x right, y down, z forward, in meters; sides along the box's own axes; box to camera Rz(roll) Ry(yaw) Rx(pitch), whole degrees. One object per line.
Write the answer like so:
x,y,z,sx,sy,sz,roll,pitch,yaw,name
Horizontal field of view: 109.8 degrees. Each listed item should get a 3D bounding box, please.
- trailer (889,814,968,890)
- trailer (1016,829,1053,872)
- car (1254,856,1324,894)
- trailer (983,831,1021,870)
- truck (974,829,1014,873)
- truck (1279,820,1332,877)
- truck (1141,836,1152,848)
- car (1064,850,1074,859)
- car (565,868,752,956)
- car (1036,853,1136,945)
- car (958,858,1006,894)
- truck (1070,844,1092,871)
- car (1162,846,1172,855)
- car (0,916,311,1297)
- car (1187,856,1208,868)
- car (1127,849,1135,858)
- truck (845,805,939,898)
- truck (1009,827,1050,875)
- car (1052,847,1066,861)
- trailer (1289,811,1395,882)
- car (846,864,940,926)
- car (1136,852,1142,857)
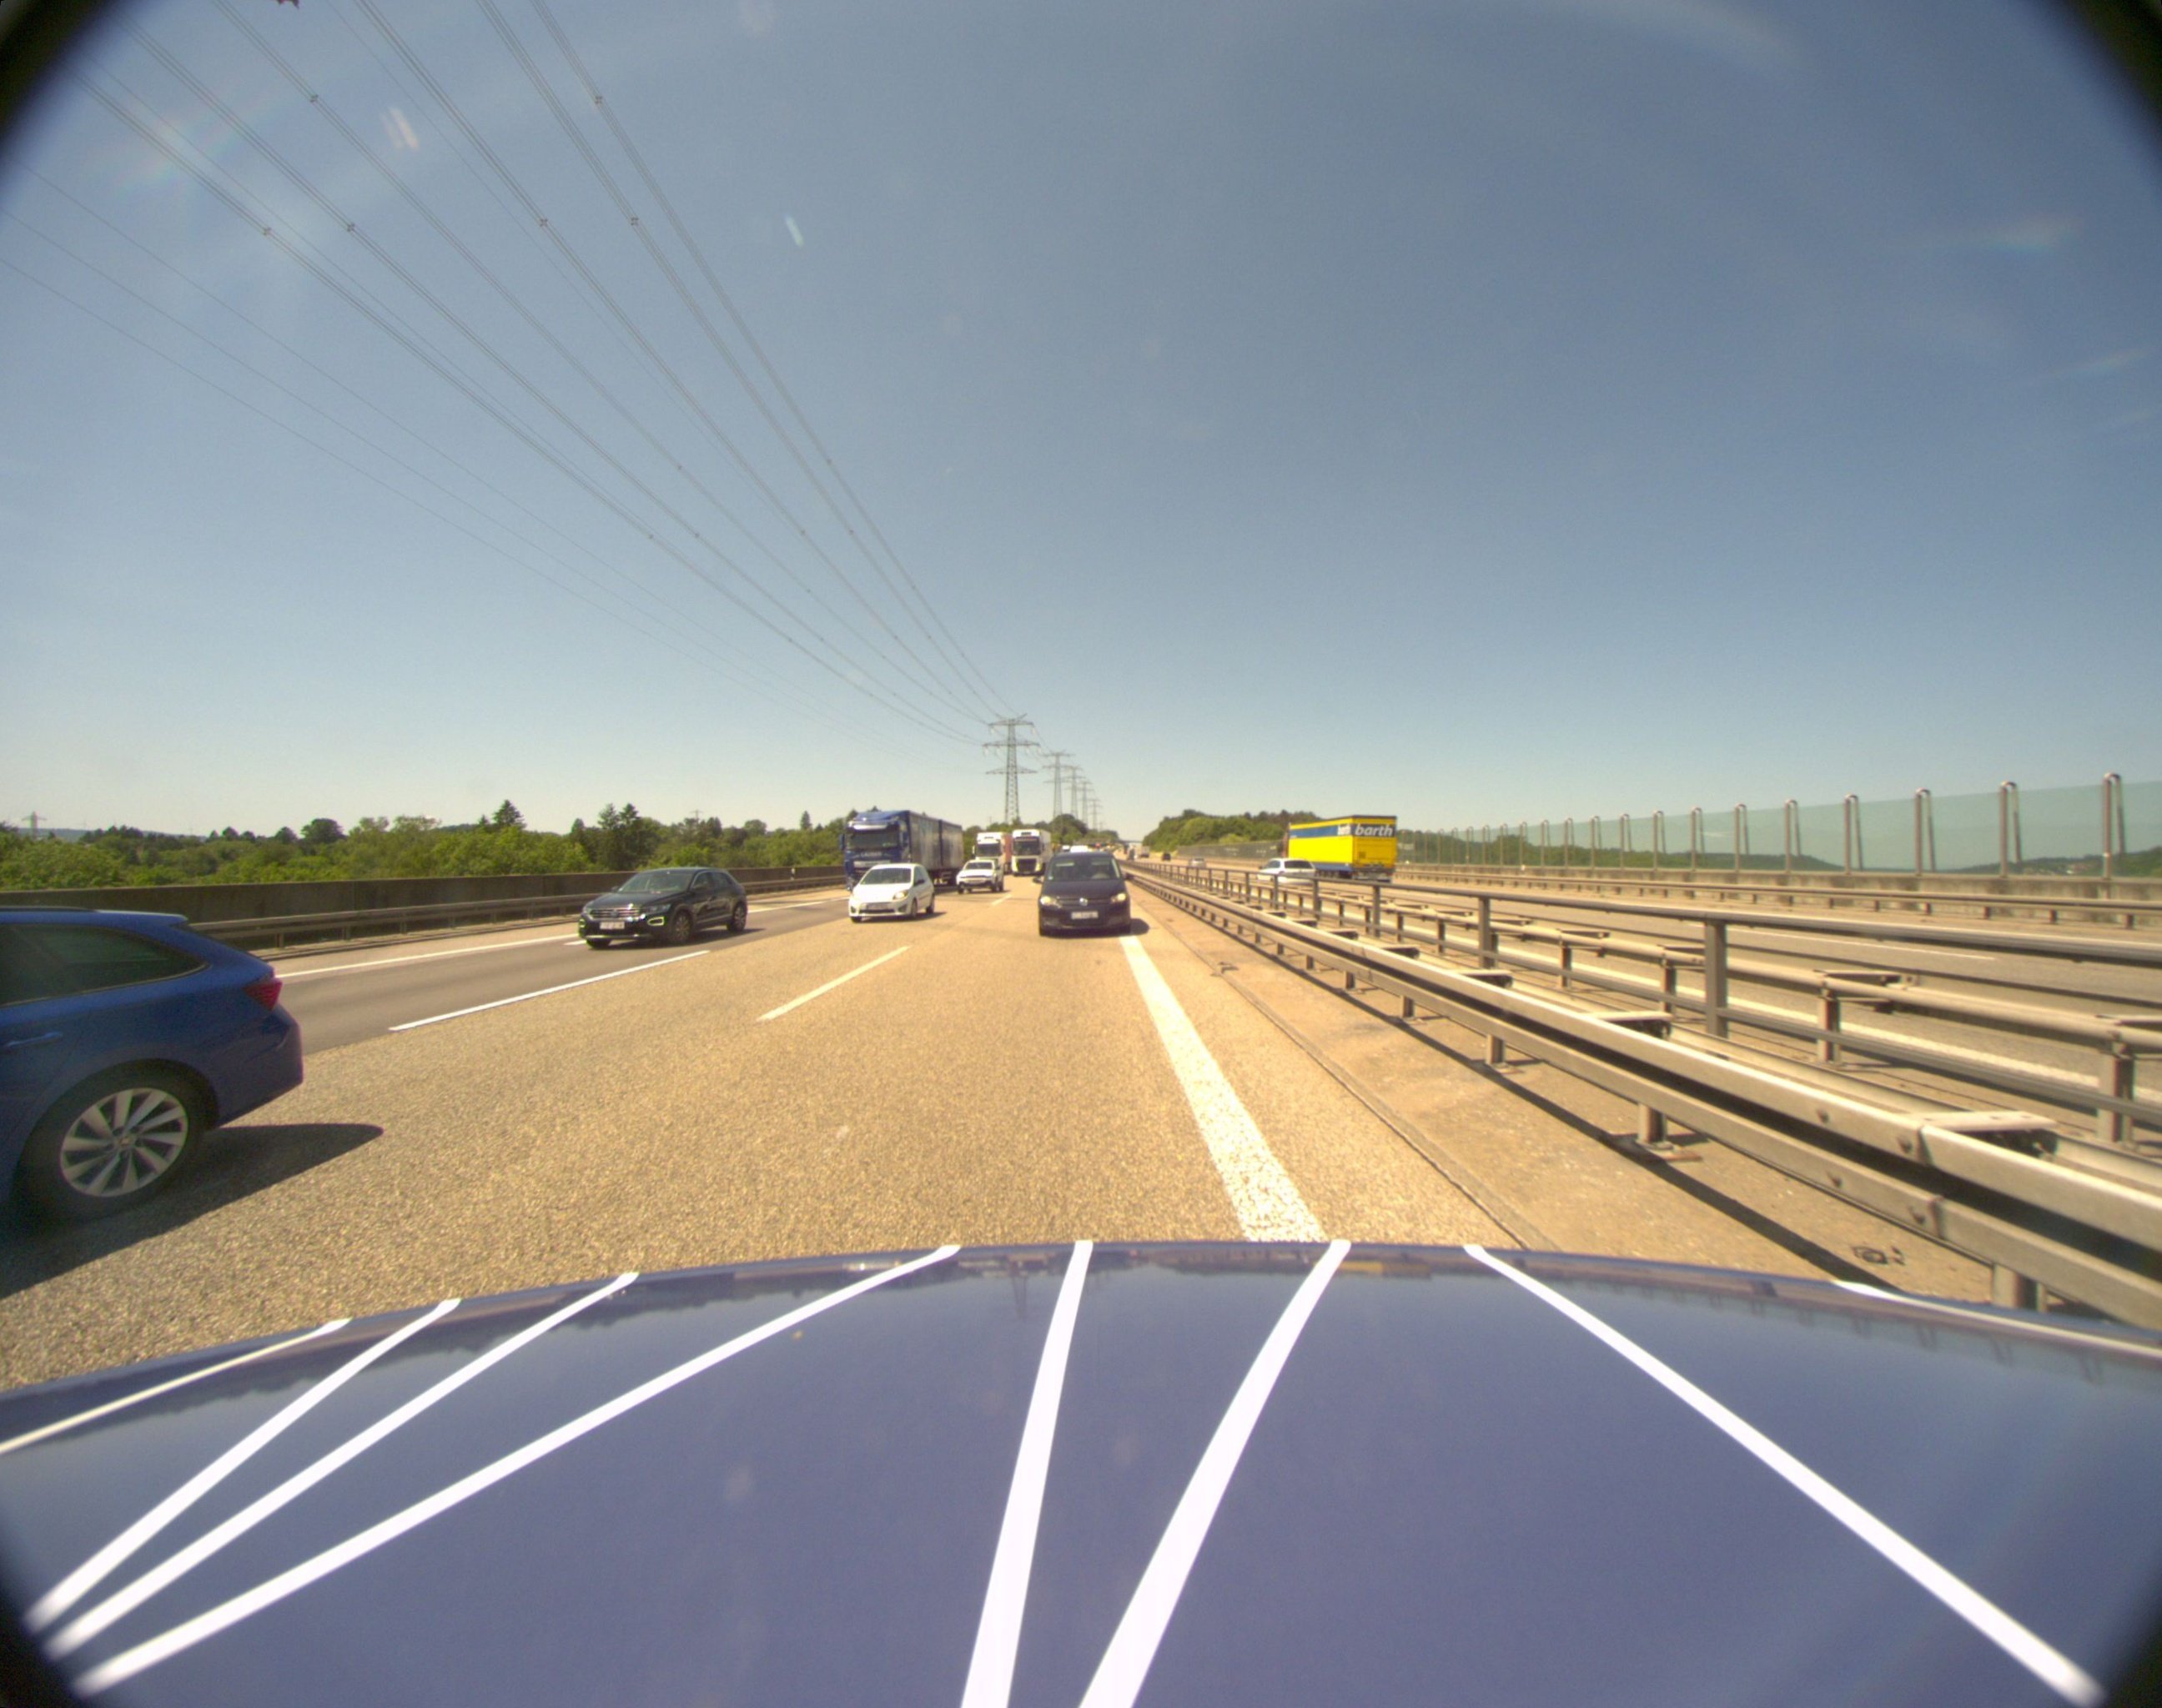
-9.007,-0.160,46.390,2.543,3.971,10.883,-2,1,0,trailer
-4.404,-0.396,74.521,2.898,3.847,9.772,-2,1,0,trailer
8.722,0.838,32.162,1.762,1.440,4.286,1,0,0,car
-8.269,-0.360,80.380,2.904,3.779,8.687,-2,1,0,trailer
-8.249,-0.301,72.659,2.914,3.869,6.739,-2,1,0,truck
16.878,-0.432,57.514,2.420,4.035,5.542,0,1,1,truck
21.479,-3.881,249.526,3.289,3.628,6.975,-2,1,1,truck
-2.463,0.090,156.375,1.701,1.599,3.639,-2,1,1,car
-8.656,1.114,16.003,1.709,1.497,3.888,-2,0,0,car
0.083,0.809,15.640,1.739,1.607,3.911,-2,0,0,car
-4.583,0.980,35.669,1.722,1.526,3.753,-2,0,0,car
0.063,0.294,80.028,2.100,2.700,5.864,-2,1,1,truck
20.231,-0.734,178.503,2.021,2.002,3.968,-2,1,1,car
-5.226,1.099,2.035,1.714,1.432,4.500,-2,0,0,car
13.376,0.896,87.281,1.767,1.374,4.078,1,0,0,car
11.702,-0.151,177.674,1.584,2.002,3.546,0,0,1,car
-8.947,-0.119,36.988,2.517,3.944,7.926,-2,0,0,truck
-4.388,-0.306,66.256,2.914,3.869,6.739,-2,1,0,truck
-3.616,-0.024,123.204,1.998,2.002,3.999,-2,1,1,car
16.742,-0.422,50.137,2.429,4.040,13.801,0,0,1,trailer
-5.022,1.047,20.714,1.583,1.432,3.629,-2,0,0,car
16.304,0.091,215.357,1.473,1.492,3.200,-1,1,1,car
